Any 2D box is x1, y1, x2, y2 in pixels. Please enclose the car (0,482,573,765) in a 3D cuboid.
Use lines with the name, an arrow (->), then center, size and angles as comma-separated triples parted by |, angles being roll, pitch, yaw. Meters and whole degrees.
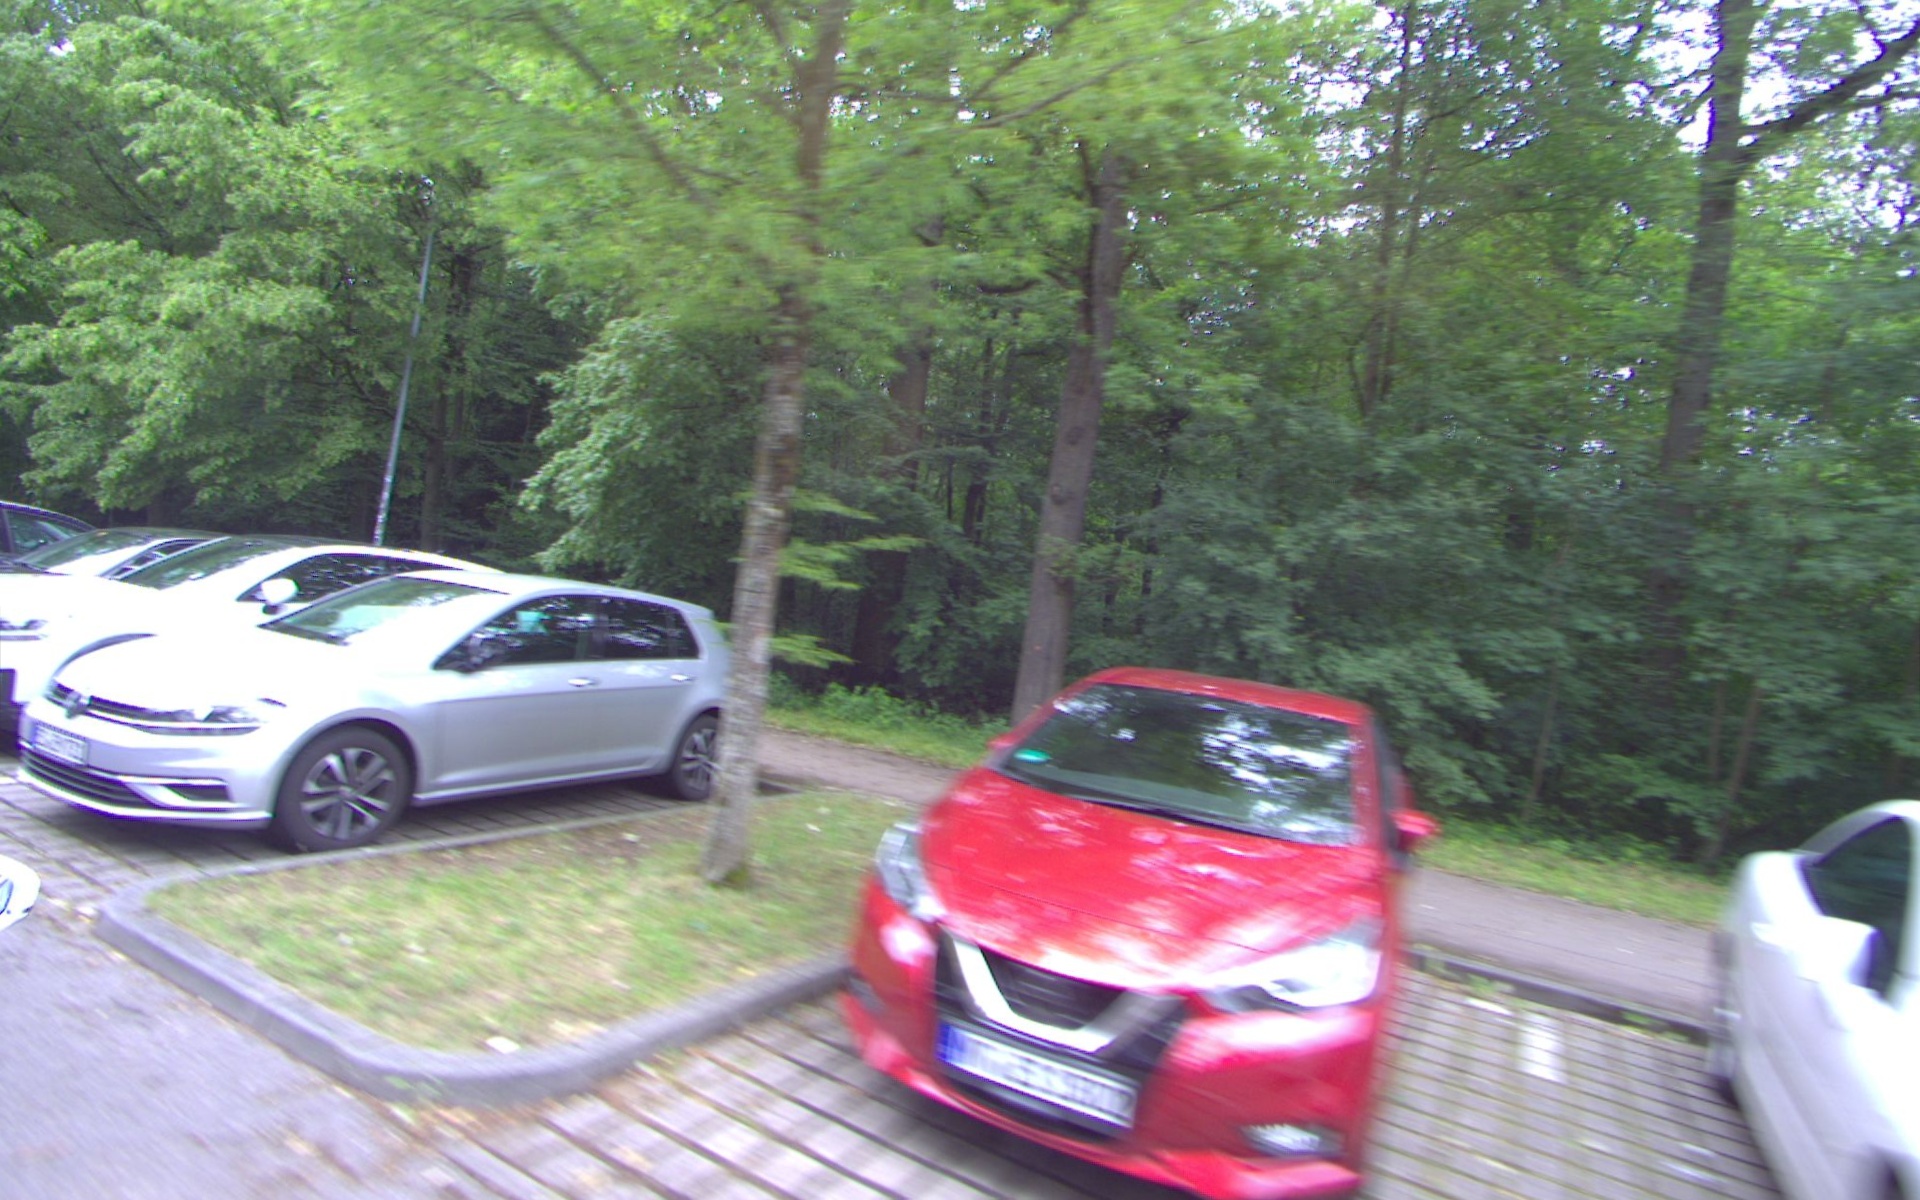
car -> -5.324, 0.198, 7.588 | 1.944, 1.577, 4.018 | 8, -1, 30

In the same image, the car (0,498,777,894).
car -> -3.190, 0.529, 6.337 | 1.850, 1.501, 3.989 | 8, -1, 26

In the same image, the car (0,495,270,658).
car -> -9.652, -0.305, 10.254 | 1.777, 1.474, 3.836 | 7, -1, 28

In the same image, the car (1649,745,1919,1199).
car -> 3.179, 1.308, 2.600 | 1.846, 1.427, 3.941 | 8, -1, 30

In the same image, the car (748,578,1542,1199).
car -> 1.028, 0.928, 4.317 | 1.836, 1.458, 3.808 | 8, -1, 22

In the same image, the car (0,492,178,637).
car -> -11.558, -0.535, 11.332 | 1.818, 1.550, 3.837 | 7, -1, 26

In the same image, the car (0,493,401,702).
car -> -7.513, -0.027, 8.753 | 1.859, 1.529, 4.200 | 8, -1, 26

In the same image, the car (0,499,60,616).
car -> -14.046, -0.807, 12.313 | 1.918, 1.492, 3.999 | 7, -2, 27
